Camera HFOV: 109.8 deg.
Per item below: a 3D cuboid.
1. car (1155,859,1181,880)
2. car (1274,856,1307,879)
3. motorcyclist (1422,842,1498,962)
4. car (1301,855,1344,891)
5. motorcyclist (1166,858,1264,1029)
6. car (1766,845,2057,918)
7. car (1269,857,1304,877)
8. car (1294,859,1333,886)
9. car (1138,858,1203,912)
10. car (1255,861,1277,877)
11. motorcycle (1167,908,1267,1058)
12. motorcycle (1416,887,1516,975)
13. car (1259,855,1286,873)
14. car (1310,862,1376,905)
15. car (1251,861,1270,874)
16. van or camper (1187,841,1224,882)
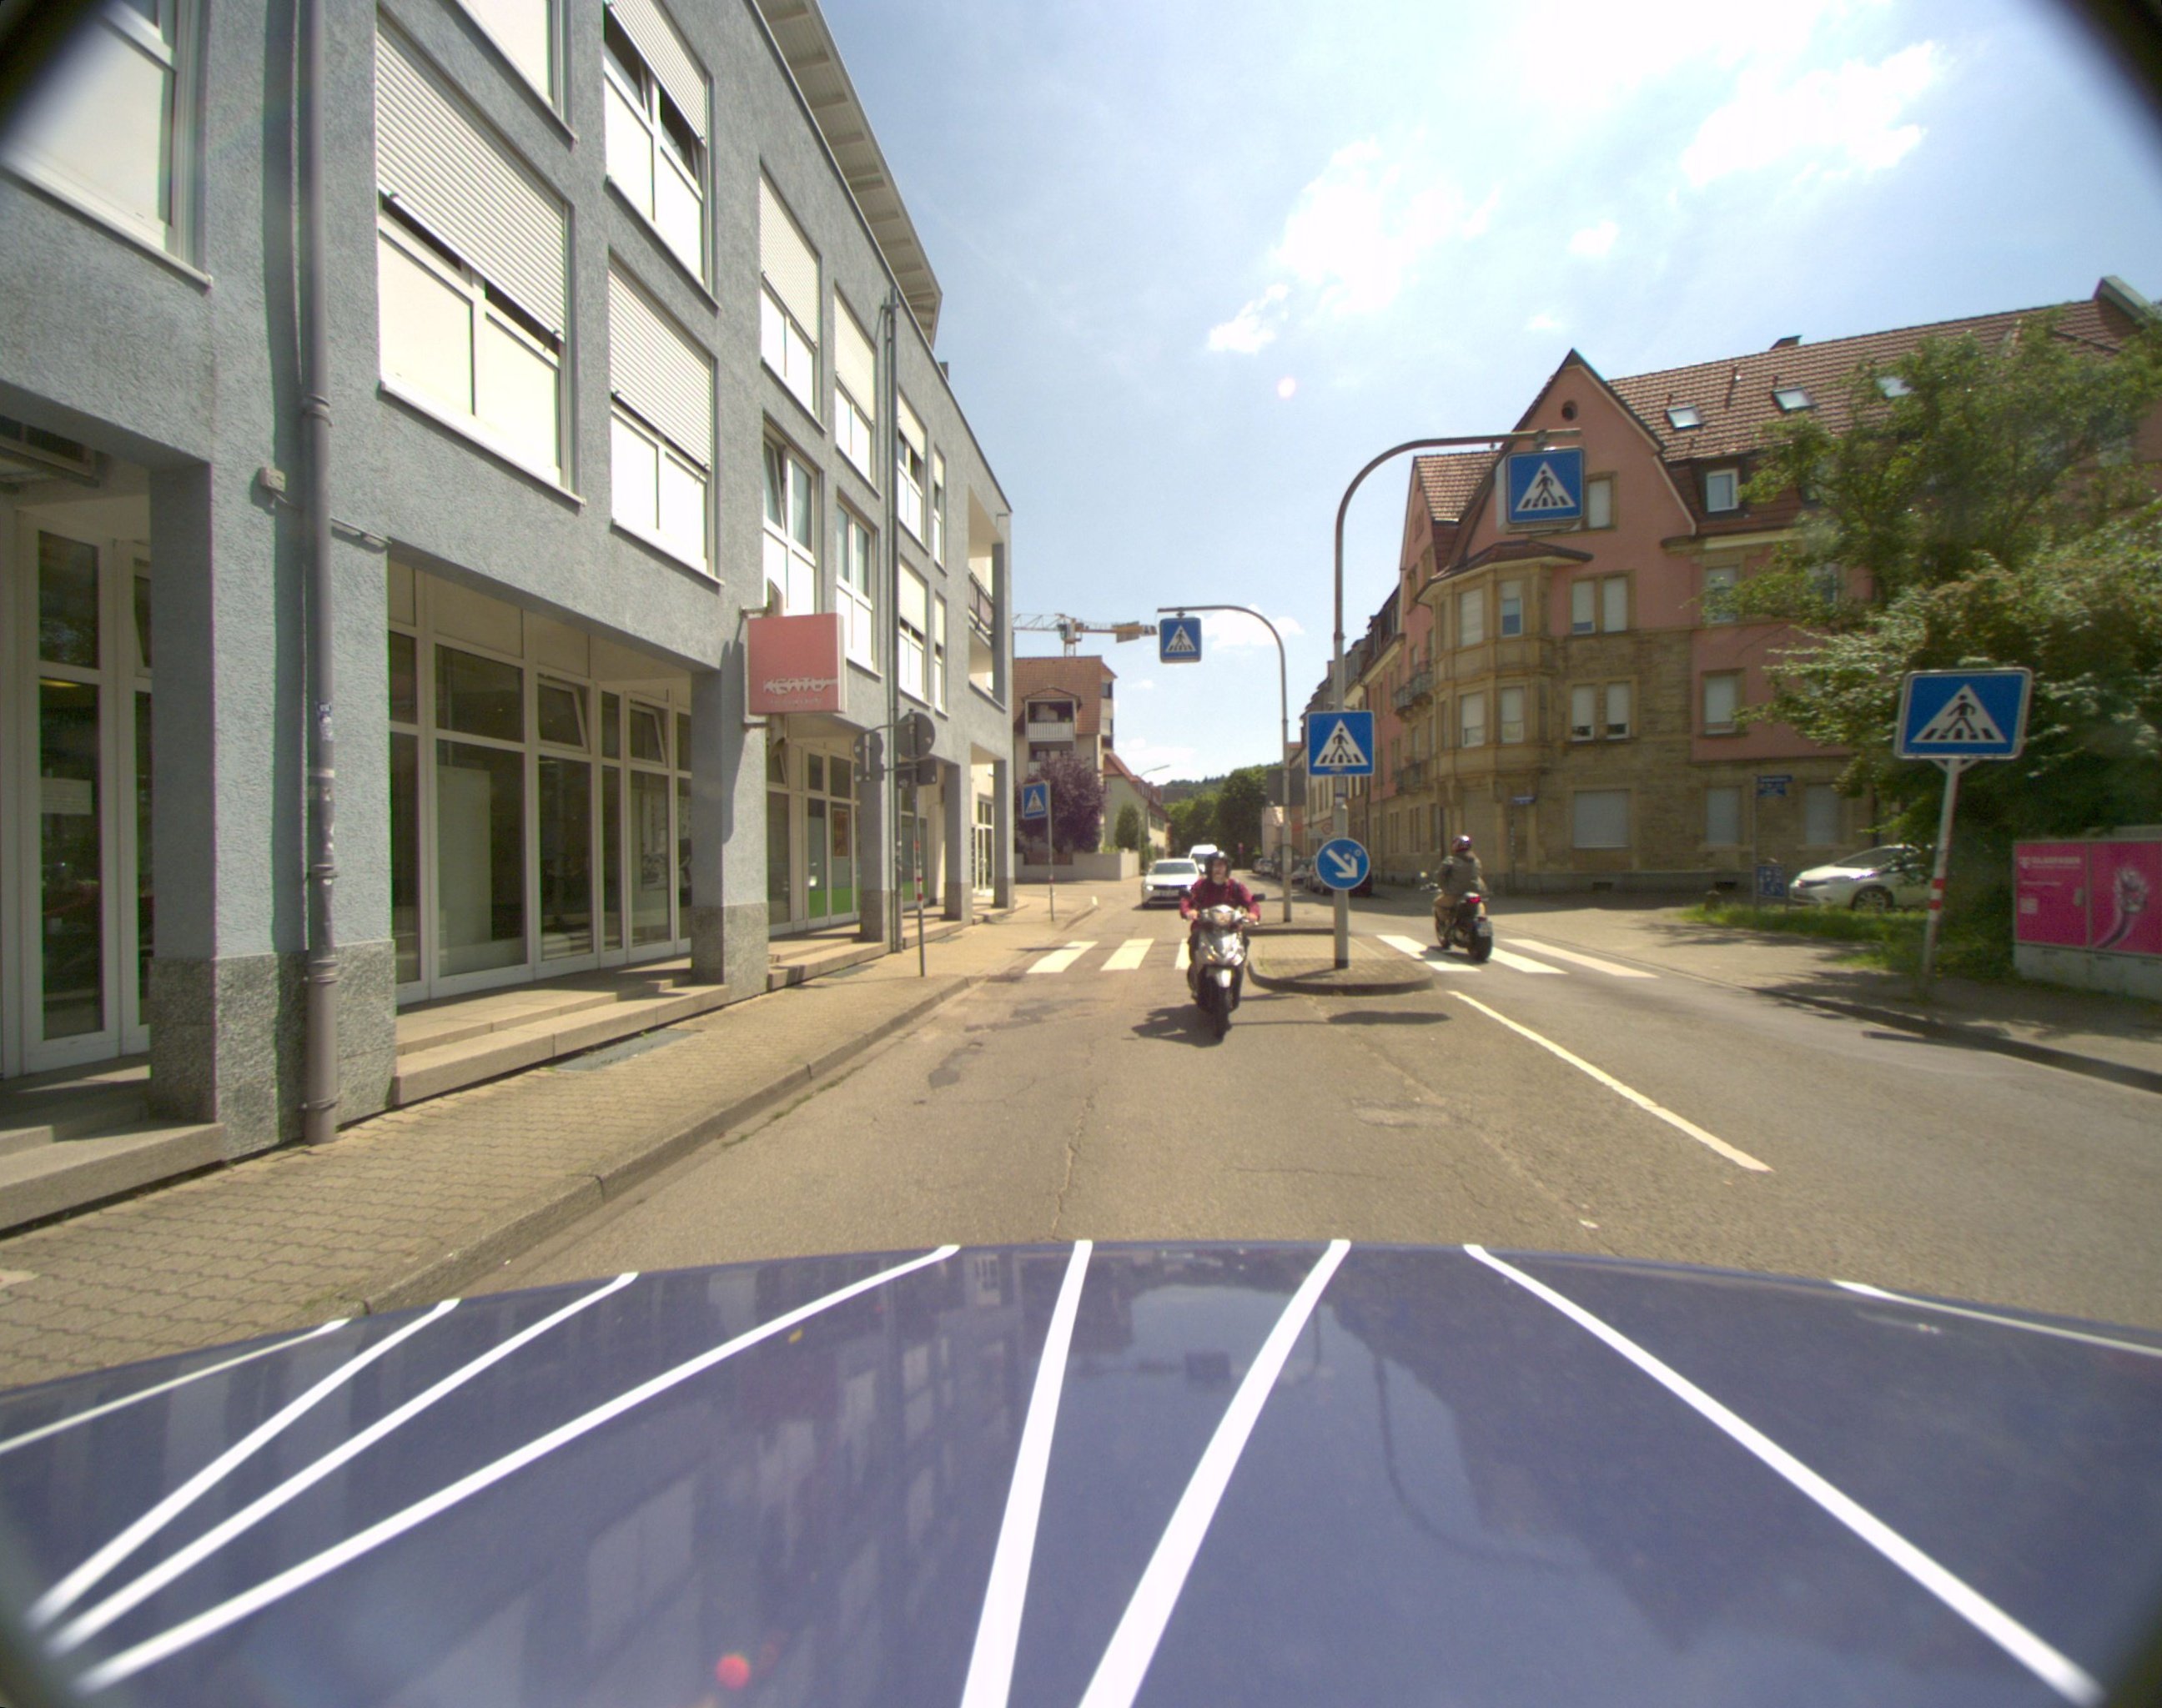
[{"bbox_3d":[6.012,1.024,52.284,1.659,1.368,4.242,0,0,8],"label":"car"},{"bbox_3d":[13.474,0.863,49.054,1.601,1.433,3.497,1,0,8],"label":"car"},{"bbox_3d":[5.412,0.651,10.895,0.714,1.625,1.070,1,0,12],"label":"motorcyclist"},{"bbox_3d":[10.766,0.819,33.966,1.439,1.514,2.697,0,0,9],"label":"car"},{"bbox_3d":[1.215,0.759,6.920,0.792,1.431,1.021,-1,0,9],"label":"motorcyclist"},{"bbox_3d":[18.193,0.600,16.882,3.993,1.493,1.871,-1,0,14],"label":"car"},{"bbox_3d":[14.699,0.913,54.537,1.876,1.430,4.221,0,0,8],"label":"car"},{"bbox_3d":[13.136,0.994,43.133,1.637,1.423,4.021,1,0,10],"label":"car"},{"bbox_3d":[2.829,0.883,23.468,1.811,1.512,4.003,-1,0,9],"label":"car"},{"bbox_3d":[17.596,1.376,72.484,1.713,1.451,3.856,1,0,9],"label":"car"},{"bbox_3d":[1.235,1.084,6.997,0.759,1.049,1.993,-1,0,9],"label":"motorcycle"},{"bbox_3d":[5.401,1.031,10.804,0.714,1.022,2.242,1,0,12],"label":"motorcycle"},{"bbox_3d":[16.004,0.820,63.663,1.881,1.501,4.385,0,0,10],"label":"car"},{"bbox_3d":[10.190,1.089,29.904,1.786,1.449,4.638,0,0,11],"label":"car"},{"bbox_3d":[19.958,1.486,84.612,1.731,1.433,3.860,0,0,9],"label":"car"},{"bbox_3d":[7.256,0.446,44.488,1.997,2.273,5.148,0,0,9],"label":"van or camper"}]
